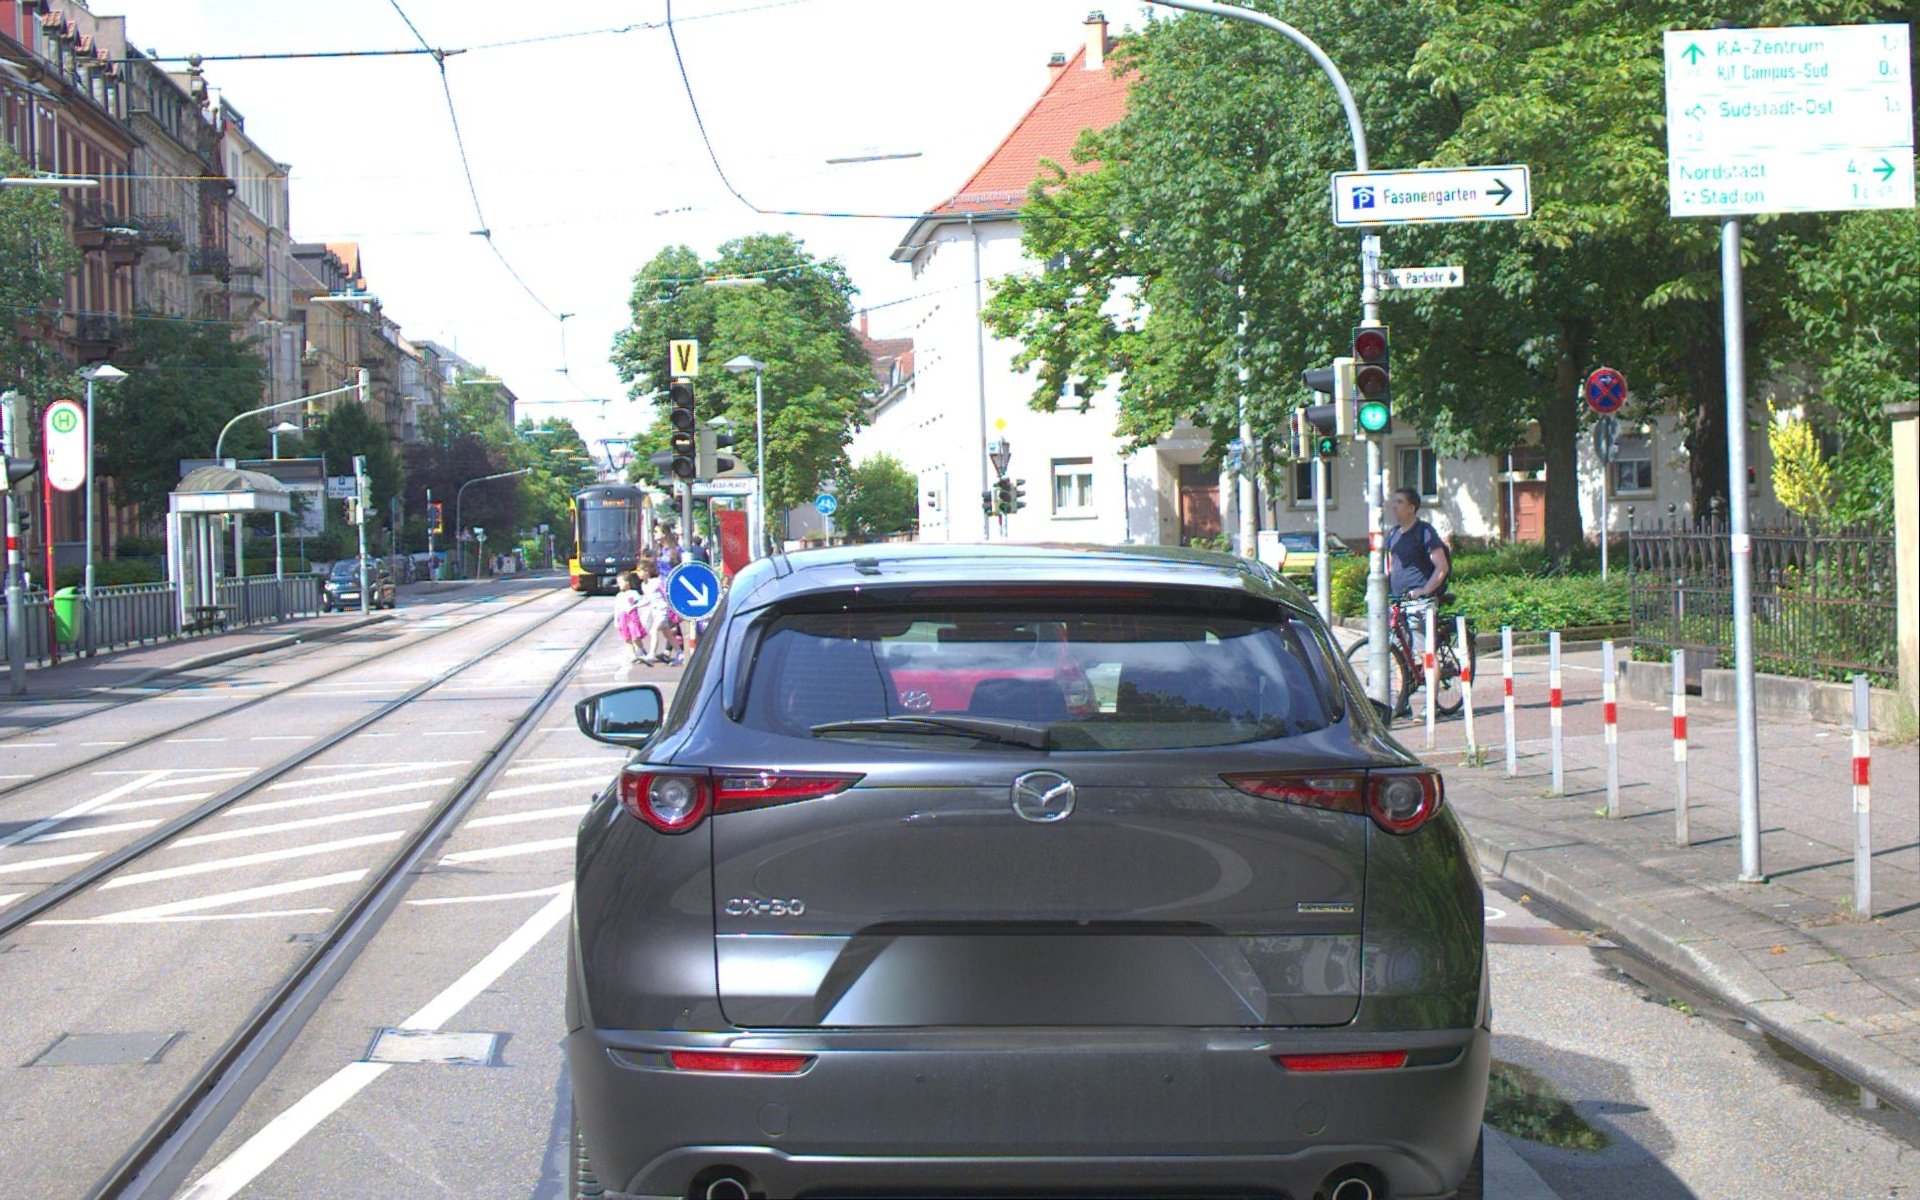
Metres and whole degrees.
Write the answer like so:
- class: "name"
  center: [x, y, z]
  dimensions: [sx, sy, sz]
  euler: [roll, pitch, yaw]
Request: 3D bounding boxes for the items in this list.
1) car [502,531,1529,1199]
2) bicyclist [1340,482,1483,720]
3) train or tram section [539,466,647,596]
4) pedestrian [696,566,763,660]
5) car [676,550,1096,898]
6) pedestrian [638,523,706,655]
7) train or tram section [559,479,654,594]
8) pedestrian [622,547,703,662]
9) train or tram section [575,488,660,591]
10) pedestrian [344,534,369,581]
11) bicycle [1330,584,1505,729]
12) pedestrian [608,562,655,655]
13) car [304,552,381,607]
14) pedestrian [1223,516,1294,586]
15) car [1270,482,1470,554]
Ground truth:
- class: "car"
  center: [0.084, 0.621, 8.018]
  dimensions: [1.782, 1.509, 4.000]
  euler: [1, 1, 0]
- class: "bicyclist"
  center: [3.518, 0.000, 26.844]
  dimensions: [0.733, 1.813, 0.820]
  euler: [-2, 1, -27]
- class: "train or tram section"
  center: [-12.067, -2.177, 114.065]
  dimensions: [2.997, 3.970, 13.811]
  euler: [-2, 0, -4]
- class: "pedestrian"
  center: [-2.786, 0.157, 41.594]
  dimensions: [0.641, 1.110, 0.444]
  euler: [-2, 1, -36]
- class: "car"
  center: [-0.354, 0.498, 16.464]
  dimensions: [1.775, 1.459, 3.843]
  euler: [0, 1, -1]
- class: "pedestrian"
  center: [-3.484, -0.141, 41.574]
  dimensions: [0.728, 1.560, 0.799]
  euler: [-2, 1, -9]
- class: "train or tram section"
  center: [-13.038, -2.241, 127.866]
  dimensions: [2.997, 3.970, 13.811]
  euler: [-2, 0, -4]
- class: "pedestrian"
  center: [-3.530, 0.047, 40.724]
  dimensions: [0.825, 1.299, 0.717]
  euler: [-4, 1, -9]
- class: "train or tram section"
  center: [-14.029, -2.390, 141.582]
  dimensions: [2.997, 3.970, 13.811]
  euler: [-2, 0, -4]
- class: "pedestrian"
  center: [-21.830, -1.551, 124.349]
  dimensions: [0.788, 1.682, 0.732]
  euler: [-1, 1, -3]
- class: "bicycle"
  center: [3.604, 0.428, 26.968]
  dimensions: [0.389, 1.032, 1.841]
  euler: [-1, 2, 40]
- class: "pedestrian"
  center: [-4.004, 0.100, 41.880]
  dimensions: [0.437, 1.104, 0.423]
  euler: [-4, 1, -14]
- class: "car"
  center: [-16.917, -0.578, 94.330]
  dimensions: [1.624, 1.382, 3.436]
  euler: [-3, 1, -3]
- class: "pedestrian"
  center: [5.709, -0.943, 65.744]
  dimensions: [1.192, 1.264, 0.558]
  euler: [-4, 1, -9]
- class: "car"
  center: [9.387, -1.883, 78.900]
  dimensions: [4.167, 1.504, 1.848]
  euler: [-1, 3, 38]
